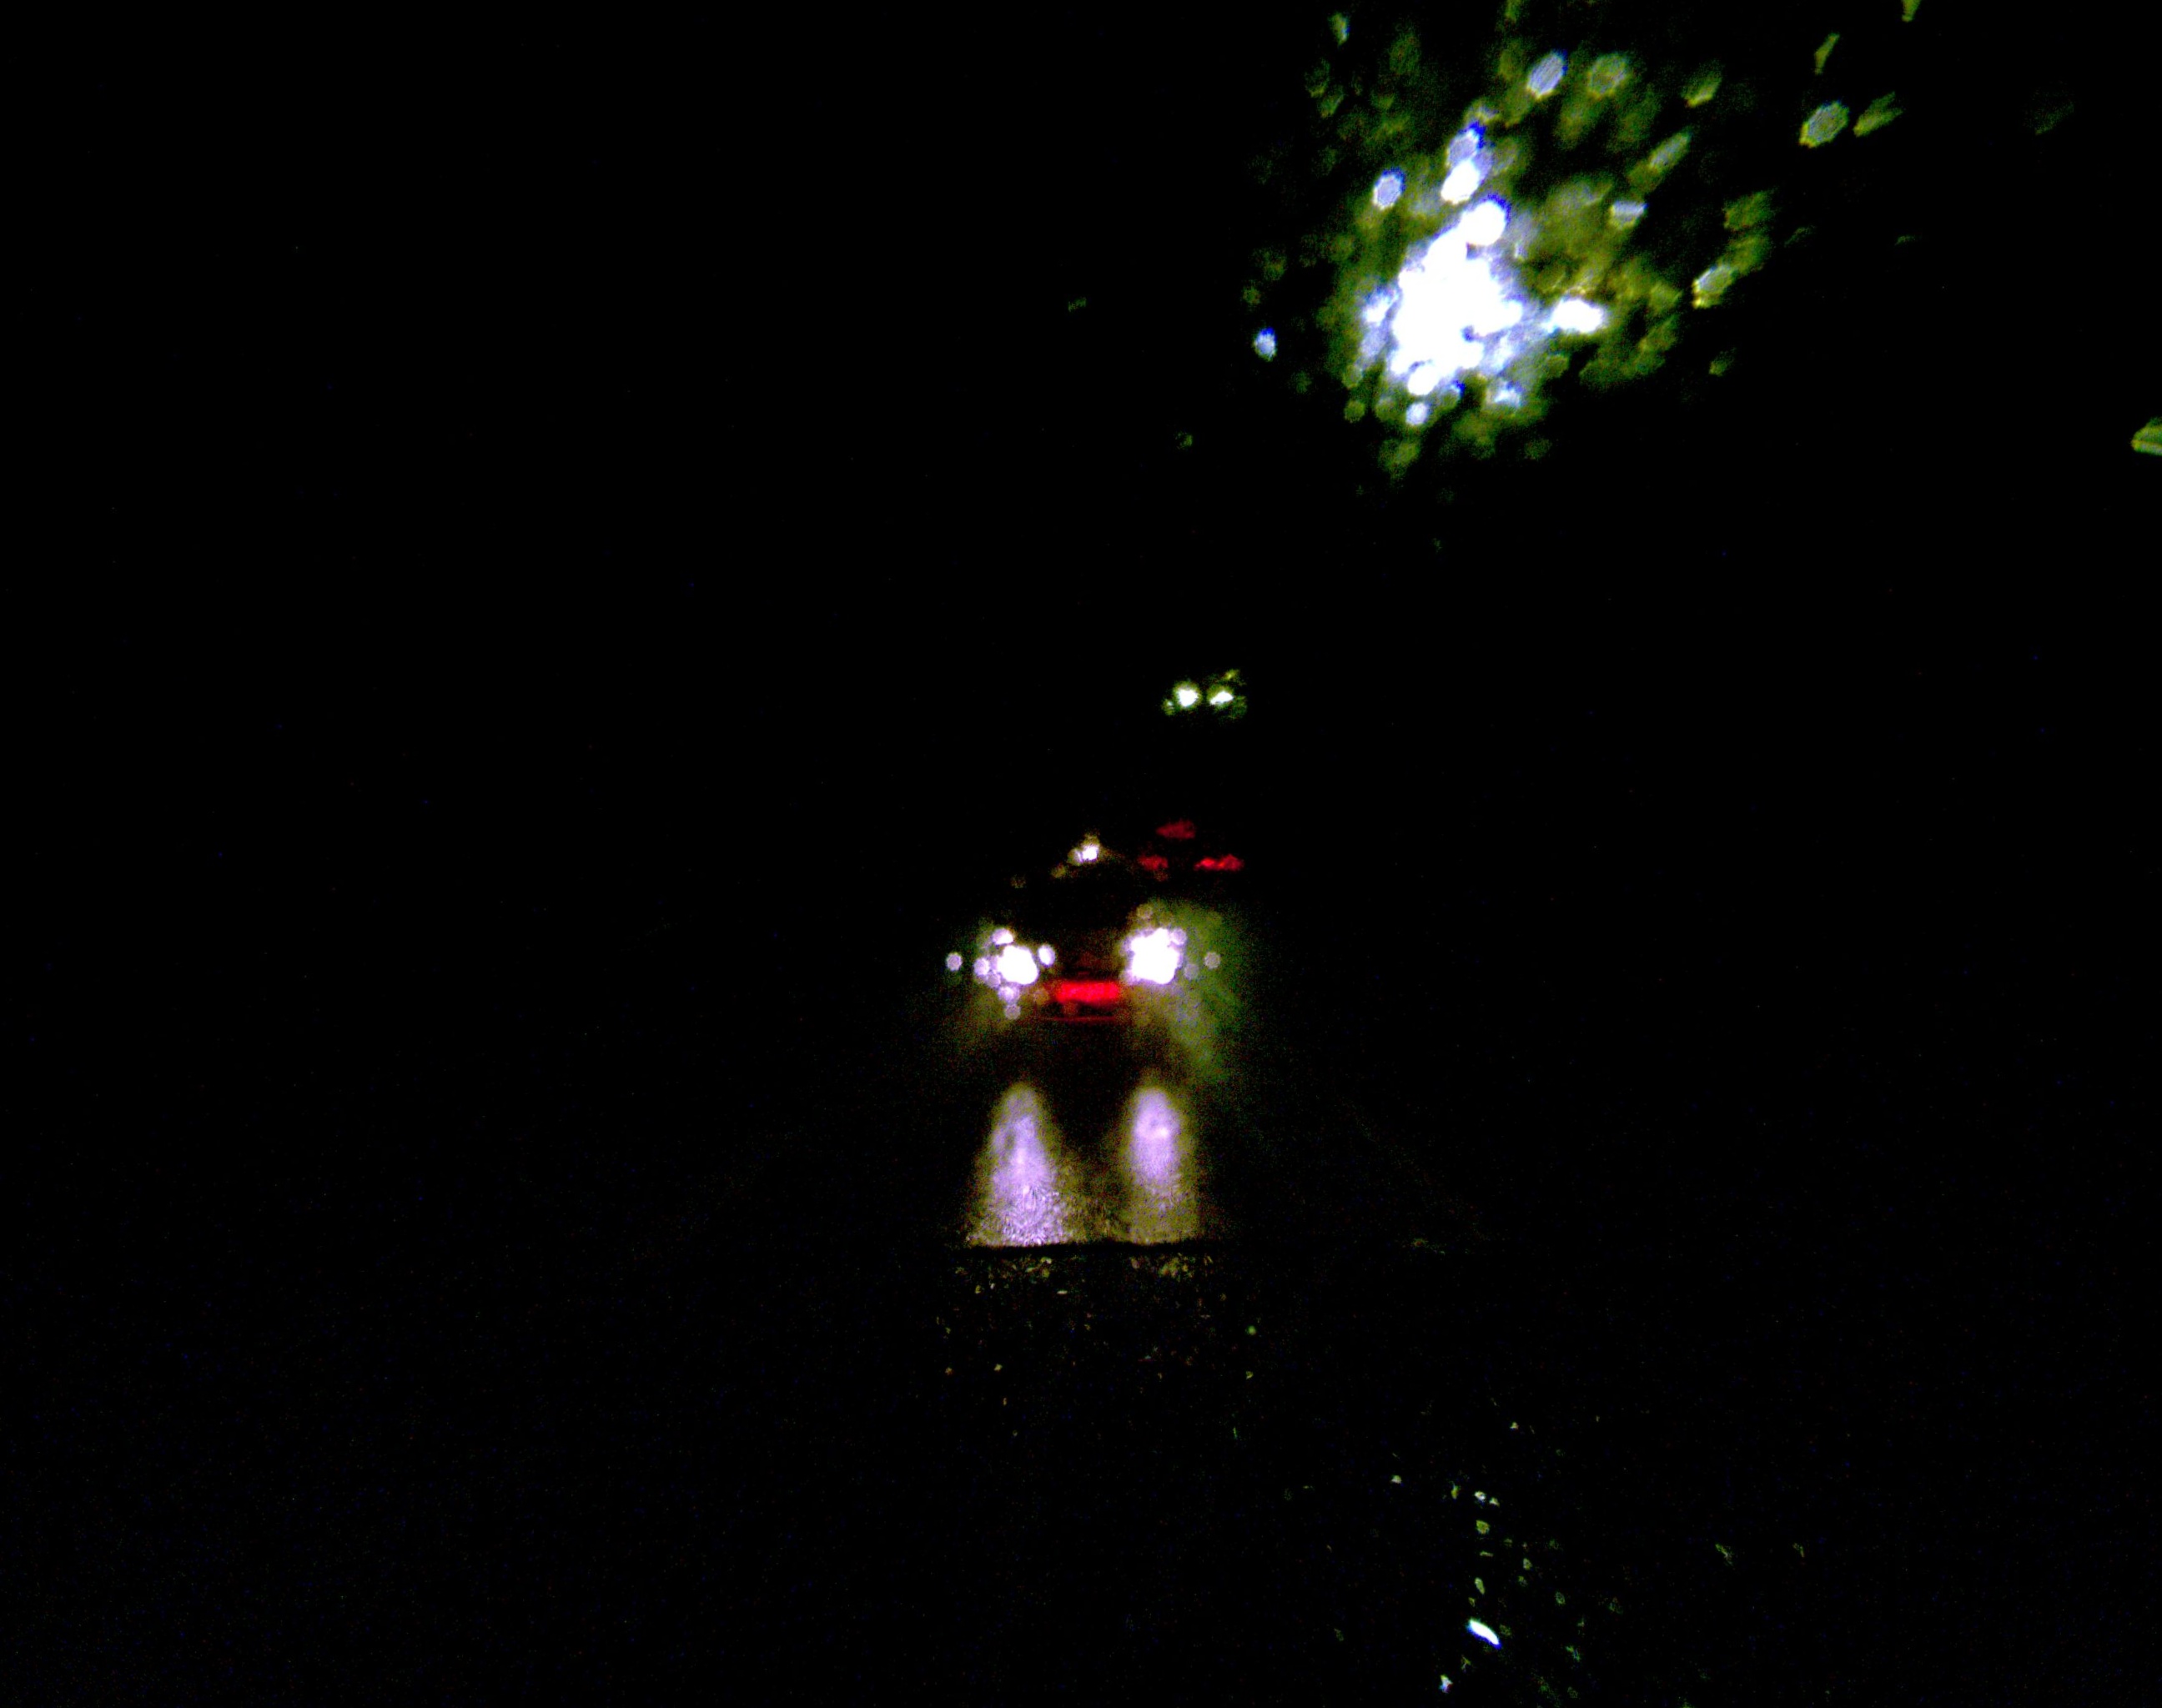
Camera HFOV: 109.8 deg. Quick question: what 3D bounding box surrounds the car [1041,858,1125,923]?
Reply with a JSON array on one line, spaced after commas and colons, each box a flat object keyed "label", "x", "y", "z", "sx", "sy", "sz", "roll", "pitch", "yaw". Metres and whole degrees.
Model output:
[{"label": "car", "x": 0.073, "y": 0.893, "z": 20.341, "sx": 1.998, "sy": 1.531, "sz": 4.000, "roll": -1, "pitch": 0, "yaw": 1}]

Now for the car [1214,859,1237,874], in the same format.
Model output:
[{"label": "car", "x": 16.671, "y": 1.422, "z": 87.686, "sx": 1.866, "sy": 1.637, "sz": 4.000, "roll": -2, "pitch": 0, "yaw": 1}]

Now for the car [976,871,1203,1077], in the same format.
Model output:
[{"label": "car", "x": 0.096, "y": 0.999, "z": 8.032, "sx": 1.764, "sy": 1.492, "sz": 4.000, "roll": -2, "pitch": 0, "yaw": 1}]

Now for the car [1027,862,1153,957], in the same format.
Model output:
[{"label": "car", "x": 0.169, "y": 0.918, "z": 14.165, "sx": 1.998, "sy": 1.455, "sz": 4.000, "roll": -1, "pitch": 0, "yaw": 1}]

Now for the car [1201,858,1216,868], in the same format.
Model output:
[{"label": "car", "x": 20.785, "y": 1.438, "z": 124.292, "sx": 1.817, "sy": 1.637, "sz": 4.000, "roll": -2, "pitch": 0, "yaw": 2}]

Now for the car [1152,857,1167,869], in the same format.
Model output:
[{"label": "car", "x": 11.554, "y": 1.373, "z": 111.919, "sx": 1.788, "sy": 1.637, "sz": 4.000, "roll": -2, "pitch": 0, "yaw": 0}]

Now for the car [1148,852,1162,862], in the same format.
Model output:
[{"label": "car", "x": 12.432, "y": 0.474, "z": 127.360, "sx": 1.788, "sy": 1.637, "sz": 3.999, "roll": -2, "pitch": 0, "yaw": -1}]
